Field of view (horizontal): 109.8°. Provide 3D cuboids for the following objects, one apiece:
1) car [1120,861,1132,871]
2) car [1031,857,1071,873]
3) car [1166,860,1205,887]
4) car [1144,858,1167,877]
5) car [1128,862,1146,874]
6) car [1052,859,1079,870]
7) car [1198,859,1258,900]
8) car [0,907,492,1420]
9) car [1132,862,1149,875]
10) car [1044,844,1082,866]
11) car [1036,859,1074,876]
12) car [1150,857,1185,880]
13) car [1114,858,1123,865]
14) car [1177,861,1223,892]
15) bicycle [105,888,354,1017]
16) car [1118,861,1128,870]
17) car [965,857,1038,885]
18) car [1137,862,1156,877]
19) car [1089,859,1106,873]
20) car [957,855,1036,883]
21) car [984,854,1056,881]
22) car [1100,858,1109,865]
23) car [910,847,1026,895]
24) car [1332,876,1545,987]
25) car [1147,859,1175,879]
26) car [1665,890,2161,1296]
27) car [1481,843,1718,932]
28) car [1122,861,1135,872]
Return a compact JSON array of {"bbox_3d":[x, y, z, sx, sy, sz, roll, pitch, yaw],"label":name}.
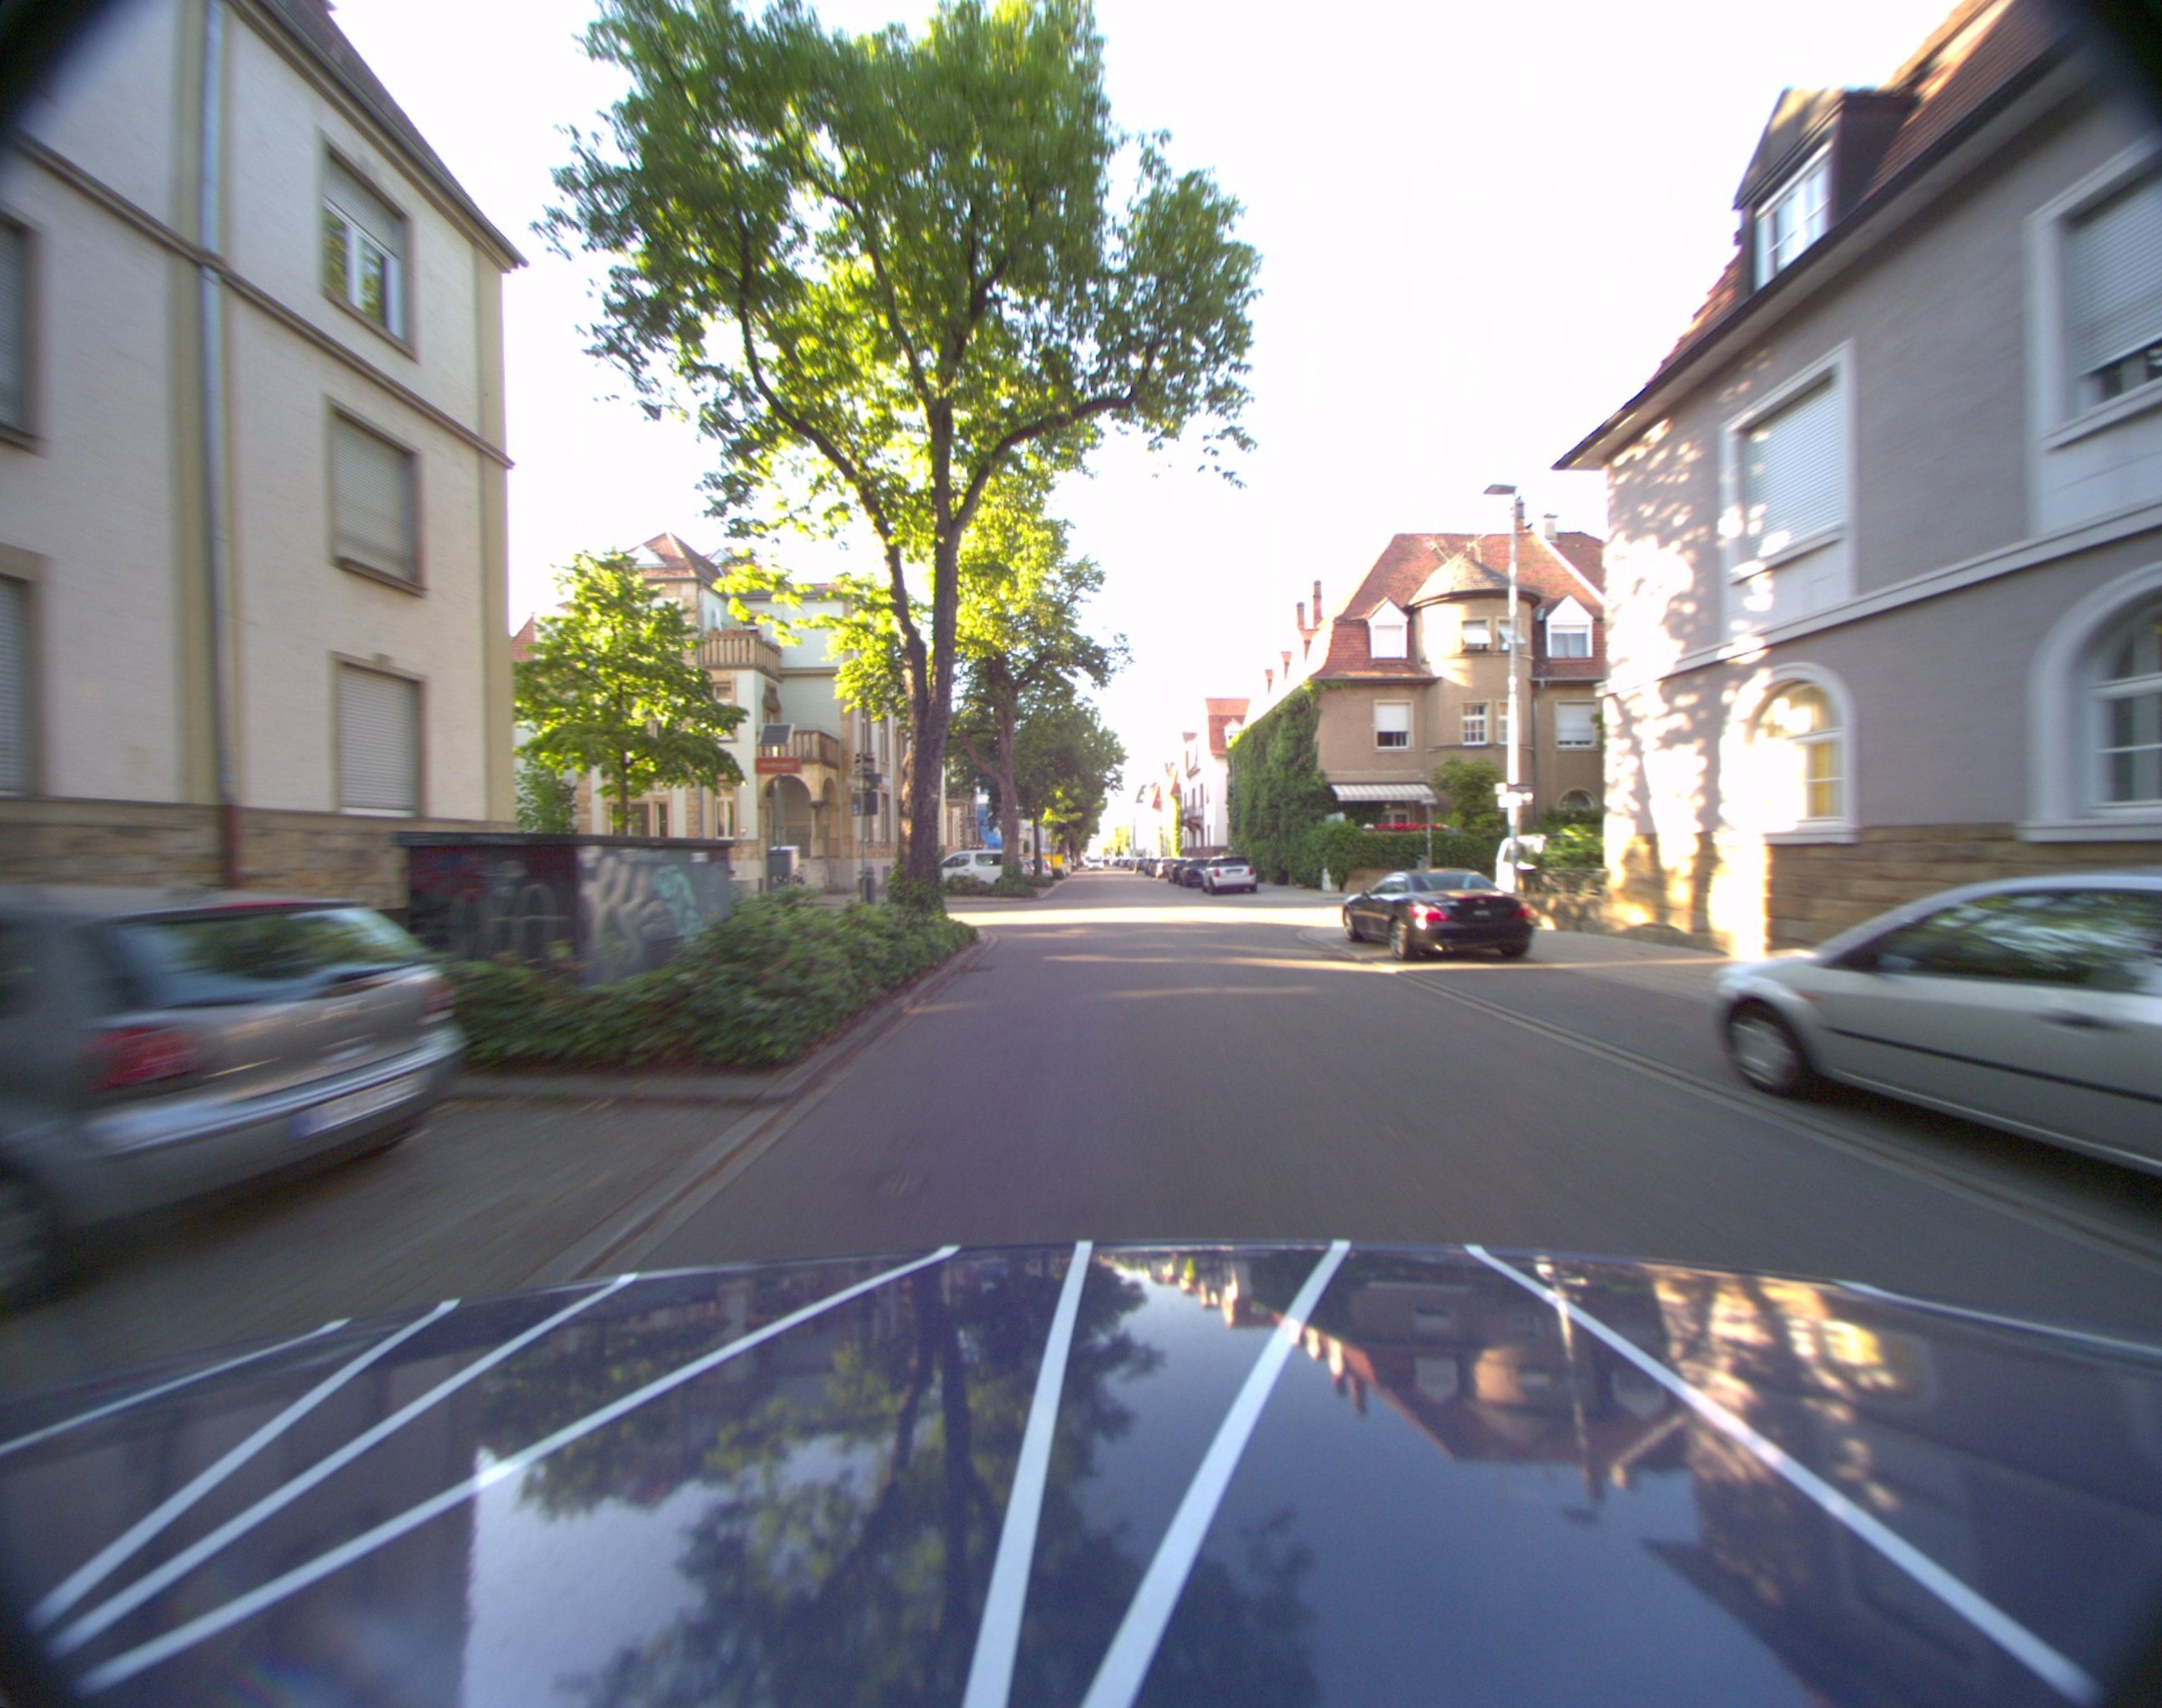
[{"bbox_3d":[7.221,1.959,121.254,1.585,1.511,3.706,-2,0,0],"label":"car"},{"bbox_3d":[-3.280,1.234,83.096,4.343,1.673,1.705,1,-1,-2],"label":"car"},{"bbox_3d":[5.777,1.042,42.419,1.653,1.412,4.099,-2,0,1],"label":"car"},{"bbox_3d":[6.236,1.113,63.833,1.657,1.477,3.765,-2,0,1],"label":"car"},{"bbox_3d":[6.838,1.708,92.944,1.714,1.461,4.633,-2,0,-1],"label":"car"},{"bbox_3d":[-2.548,1.702,123.340,4.313,1.874,1.758,0,1,-2],"label":"car"},{"bbox_3d":[5.687,0.937,29.779,1.708,1.452,3.918,-2,0,2],"label":"car"},{"bbox_3d":[-5.011,0.991,3.081,3.804,1.429,1.748,1,0,-3],"label":"car"},{"bbox_3d":[6.828,1.629,87.657,1.657,1.407,4.168,-2,0,0],"label":"car"},{"bbox_3d":[-2.439,0.133,104.212,5.108,2.885,2.076,0,0,-2],"label":"car"},{"bbox_3d":[-3.073,1.589,90.885,4.481,2.002,1.896,-1,0,-1],"label":"car"},{"bbox_3d":[6.015,1.008,53.233,1.797,1.452,4.777,-2,0,-1],"label":"car"},{"bbox_3d":[8.080,1.559,164.146,1.723,1.386,3.908,-2,-1,2],"label":"car"},{"bbox_3d":[5.689,1.049,36.733,1.690,1.371,3.721,-2,0,1],"label":"car"},{"bbox_3d":[-9.345,1.015,8.482,0.586,1.204,1.957,-1,0,-1],"label":"bicycle"},{"bbox_3d":[7.516,2.057,135.702,1.654,1.474,3.430,-2,0,2],"label":"car"},{"bbox_3d":[-4.327,0.913,41.773,3.757,1.454,1.734,1,0,1],"label":"car"},{"bbox_3d":[6.642,1.522,77.410,1.657,1.438,4.005,-2,0,1],"label":"car"},{"bbox_3d":[2.049,1.482,93.335,2.098,1.700,4.607,-1,0,2],"label":"car"},{"bbox_3d":[-4.892,0.853,44.260,4.325,1.525,1.828,1,0,1],"label":"car"},{"bbox_3d":[-3.715,0.840,46.658,4.153,1.525,1.687,1,0,3],"label":"car"},{"bbox_3d":[5.047,1.648,165.106,1.776,1.440,4.001,0,-1,1],"label":"car"},{"bbox_3d":[-4.487,0.661,30.715,4.325,1.796,2.000,1,0,1],"label":"car"},{"bbox_3d":[5.418,1.093,12.121,1.657,1.316,4.046,-2,0,3],"label":"car"},{"bbox_3d":[6.205,1.144,59.500,1.658,1.438,3.844,-2,0,-1],"label":"car"},{"bbox_3d":[5.034,0.983,3.526,1.657,1.437,3.961,-2,0,2],"label":"car"},{"bbox_3d":[12.503,0.754,18.550,4.412,2.003,1.999,0,2,-2],"label":"car"},{"bbox_3d":[6.947,1.840,111.178,1.657,1.445,4.631,-2,0,1],"label":"car"}]
